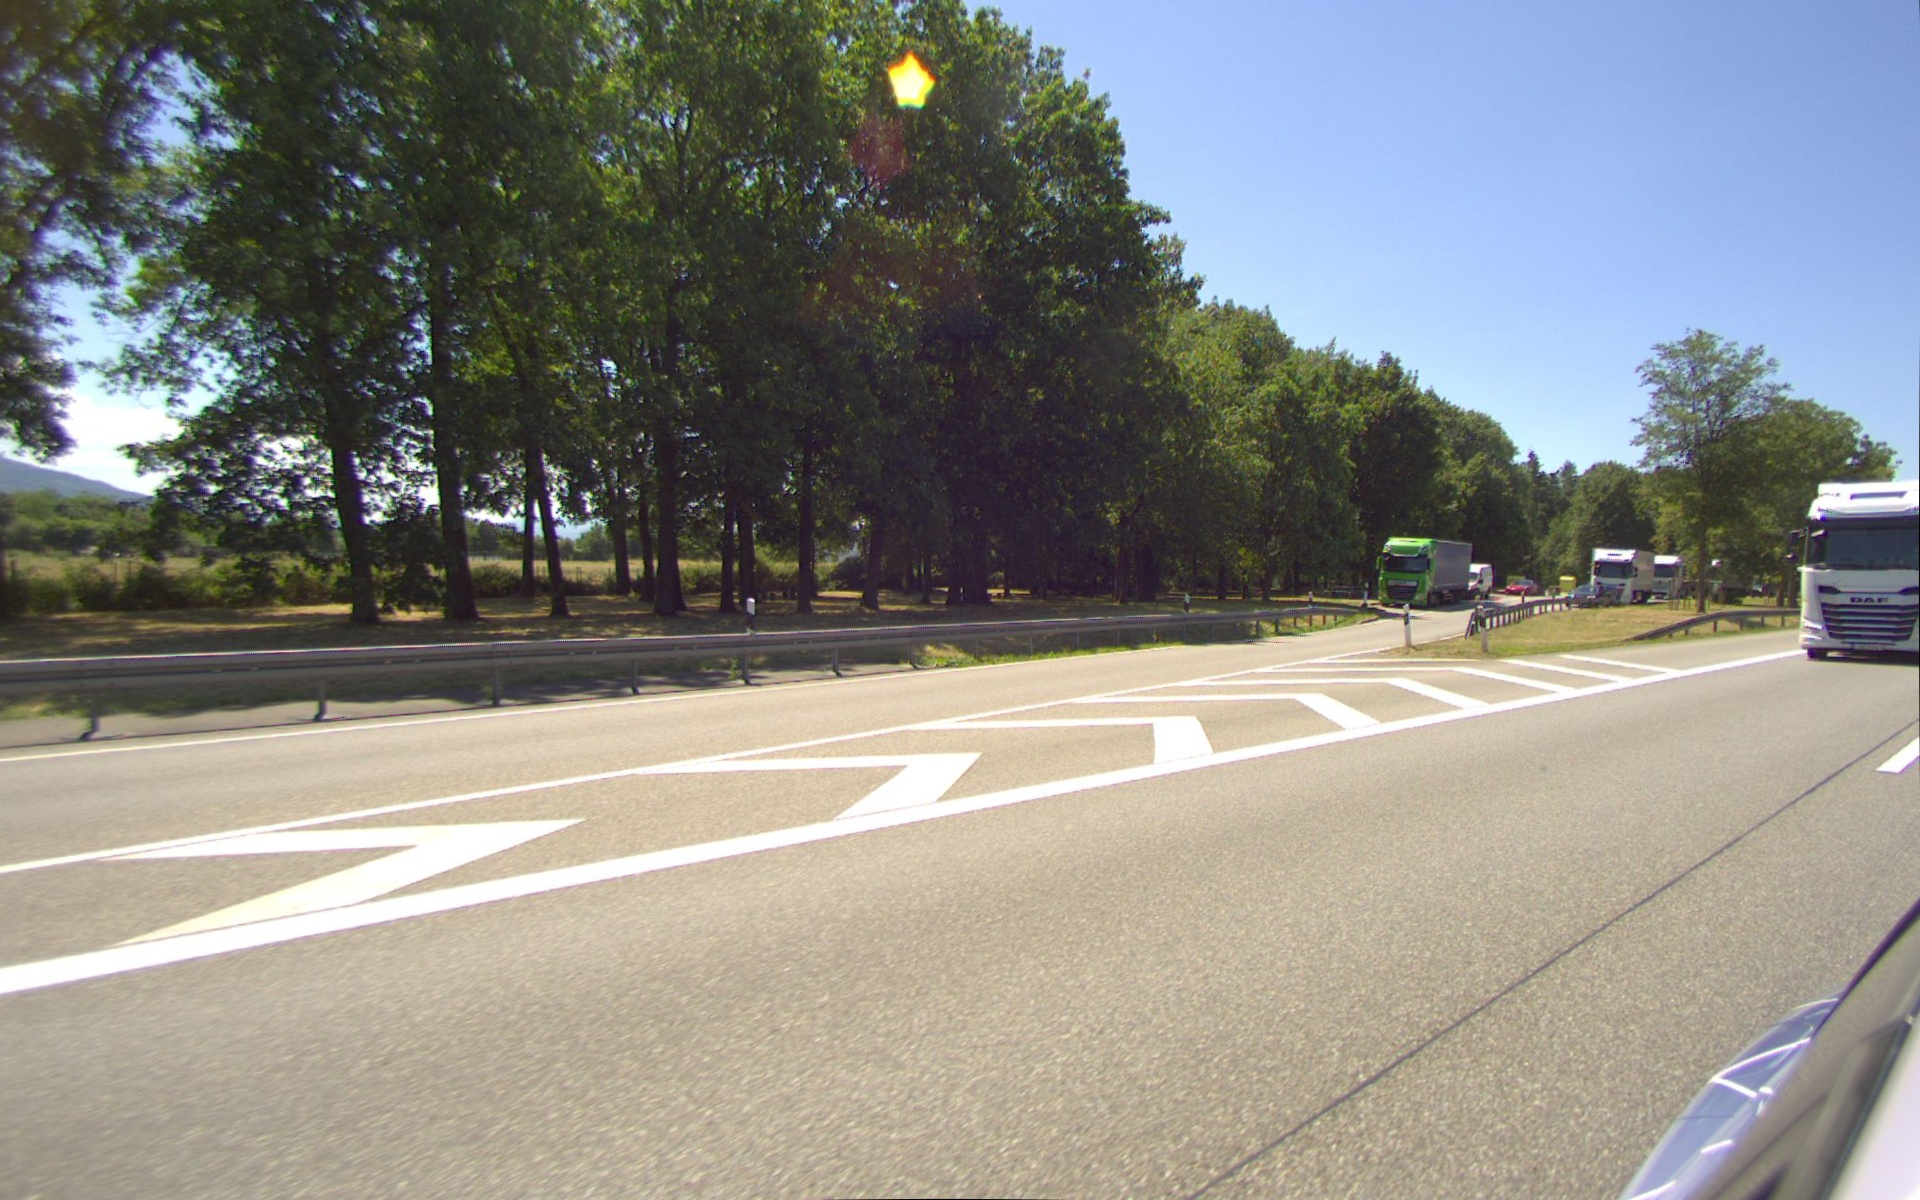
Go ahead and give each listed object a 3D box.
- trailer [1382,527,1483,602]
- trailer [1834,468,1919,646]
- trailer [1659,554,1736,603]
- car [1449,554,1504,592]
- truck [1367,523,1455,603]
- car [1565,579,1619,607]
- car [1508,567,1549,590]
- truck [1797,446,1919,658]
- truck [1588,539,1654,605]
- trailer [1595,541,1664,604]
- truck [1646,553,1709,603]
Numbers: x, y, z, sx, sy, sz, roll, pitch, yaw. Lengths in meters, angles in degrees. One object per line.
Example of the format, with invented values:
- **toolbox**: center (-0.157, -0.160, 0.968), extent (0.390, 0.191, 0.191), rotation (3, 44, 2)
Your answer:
- **trailer**: center (30.084, -2.110, 63.991), extent (3.374, 4.312, 12.975), rotation (0, 1, 36)
- **trailer**: center (28.685, -1.119, 29.664), extent (14.724, 4.326, 2.860), rotation (-1, 0, -42)
- **trailer**: center (74.649, -2.154, 102.131), extent (17.831, 4.518, 3.386), rotation (-1, 2, -45)
- **car**: center (38.354, -2.020, 75.021), extent (2.303, 2.614, 6.558), rotation (4, 4, 38)
- **truck**: center (26.122, -2.034, 58.509), extent (3.374, 4.312, 6.531), rotation (0, 0, 36)
- **car**: center (42.277, -0.502, 67.666), extent (4.604, 1.731, 1.995), rotation (-1, 4, -45)
- **car**: center (49.261, -1.865, 87.656), extent (2.140, 1.774, 4.797), rotation (5, 4, 41)
- **truck**: center (21.807, -1.021, 23.392), extent (6.746, 4.326, 2.860), rotation (-1, 0, -42)
- **truck**: center (48.361, -1.989, 73.932), extent (3.377, 4.519, 7.287), rotation (0, 0, 38)
- **trailer**: center (53.001, -2.073, 79.841), extent (3.376, 4.519, 14.162), rotation (0, 1, 38)
- **truck**: center (67.361, -2.056, 94.904), extent (8.099, 4.518, 3.386), rotation (-1, 2, -45)
